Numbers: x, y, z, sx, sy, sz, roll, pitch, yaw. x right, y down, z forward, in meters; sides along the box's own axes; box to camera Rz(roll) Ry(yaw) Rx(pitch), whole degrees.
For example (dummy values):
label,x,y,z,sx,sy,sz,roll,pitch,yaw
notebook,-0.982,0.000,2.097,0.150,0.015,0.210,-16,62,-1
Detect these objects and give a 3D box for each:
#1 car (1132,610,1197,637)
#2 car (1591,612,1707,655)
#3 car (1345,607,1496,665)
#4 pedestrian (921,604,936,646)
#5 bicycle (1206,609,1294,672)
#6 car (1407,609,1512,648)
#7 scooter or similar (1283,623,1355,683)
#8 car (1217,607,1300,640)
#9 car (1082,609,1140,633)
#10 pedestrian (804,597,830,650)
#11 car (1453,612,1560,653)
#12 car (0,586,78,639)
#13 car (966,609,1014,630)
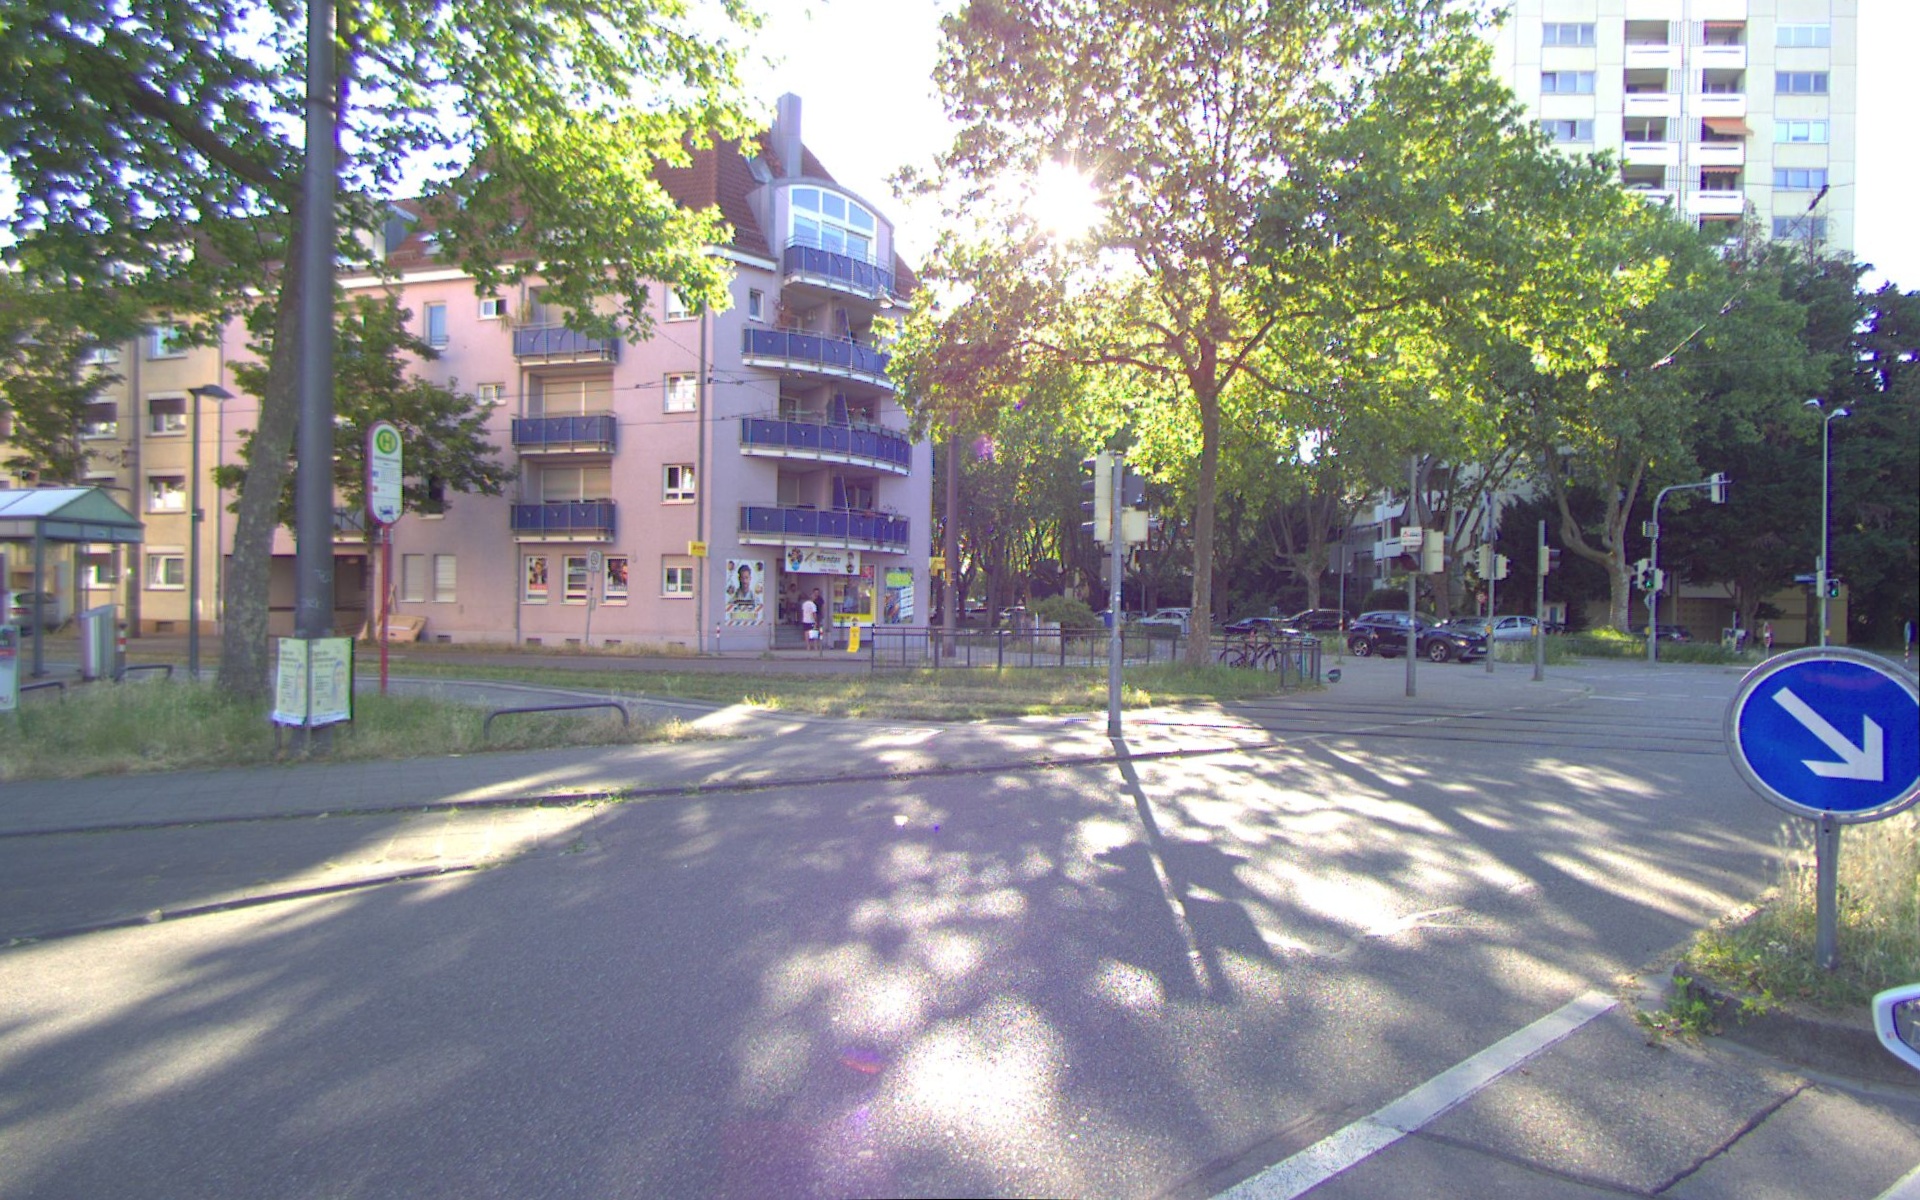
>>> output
label,x,y,z,sx,sy,sz,roll,pitch,yaw
car,13.402,1.551,65.985,3.921,1.617,1.738,2,0,0
car,31.618,1.517,46.205,1.971,1.798,3.979,2,0,-22
car,14.326,1.076,31.437,1.722,1.617,3.959,2,0,-36
pedestrian,-1.296,1.028,41.475,0.541,1.689,0.619,2,0,-8
bicycle,6.402,0.879,22.247,1.811,1.324,0.382,2,0,34
car,22.842,1.297,45.995,3.921,1.617,1.738,2,0,0
scooter or similar,7.924,1.160,22.205,1.412,1.255,0.414,2,0,9
car,15.913,1.239,53.683,3.921,1.617,1.738,2,0,0
car,11.083,1.523,73.899,3.921,1.617,1.738,2,0,0
pedestrian,-4.653,0.772,32.653,0.610,1.689,0.549,2,0,38
car,23.882,1.410,43.984,3.732,1.617,1.738,2,0,0
car,-33.477,0.392,35.217,4.029,1.728,1.940,2,0,16
car,2.607,1.668,86.367,3.919,1.617,1.739,2,0,9
